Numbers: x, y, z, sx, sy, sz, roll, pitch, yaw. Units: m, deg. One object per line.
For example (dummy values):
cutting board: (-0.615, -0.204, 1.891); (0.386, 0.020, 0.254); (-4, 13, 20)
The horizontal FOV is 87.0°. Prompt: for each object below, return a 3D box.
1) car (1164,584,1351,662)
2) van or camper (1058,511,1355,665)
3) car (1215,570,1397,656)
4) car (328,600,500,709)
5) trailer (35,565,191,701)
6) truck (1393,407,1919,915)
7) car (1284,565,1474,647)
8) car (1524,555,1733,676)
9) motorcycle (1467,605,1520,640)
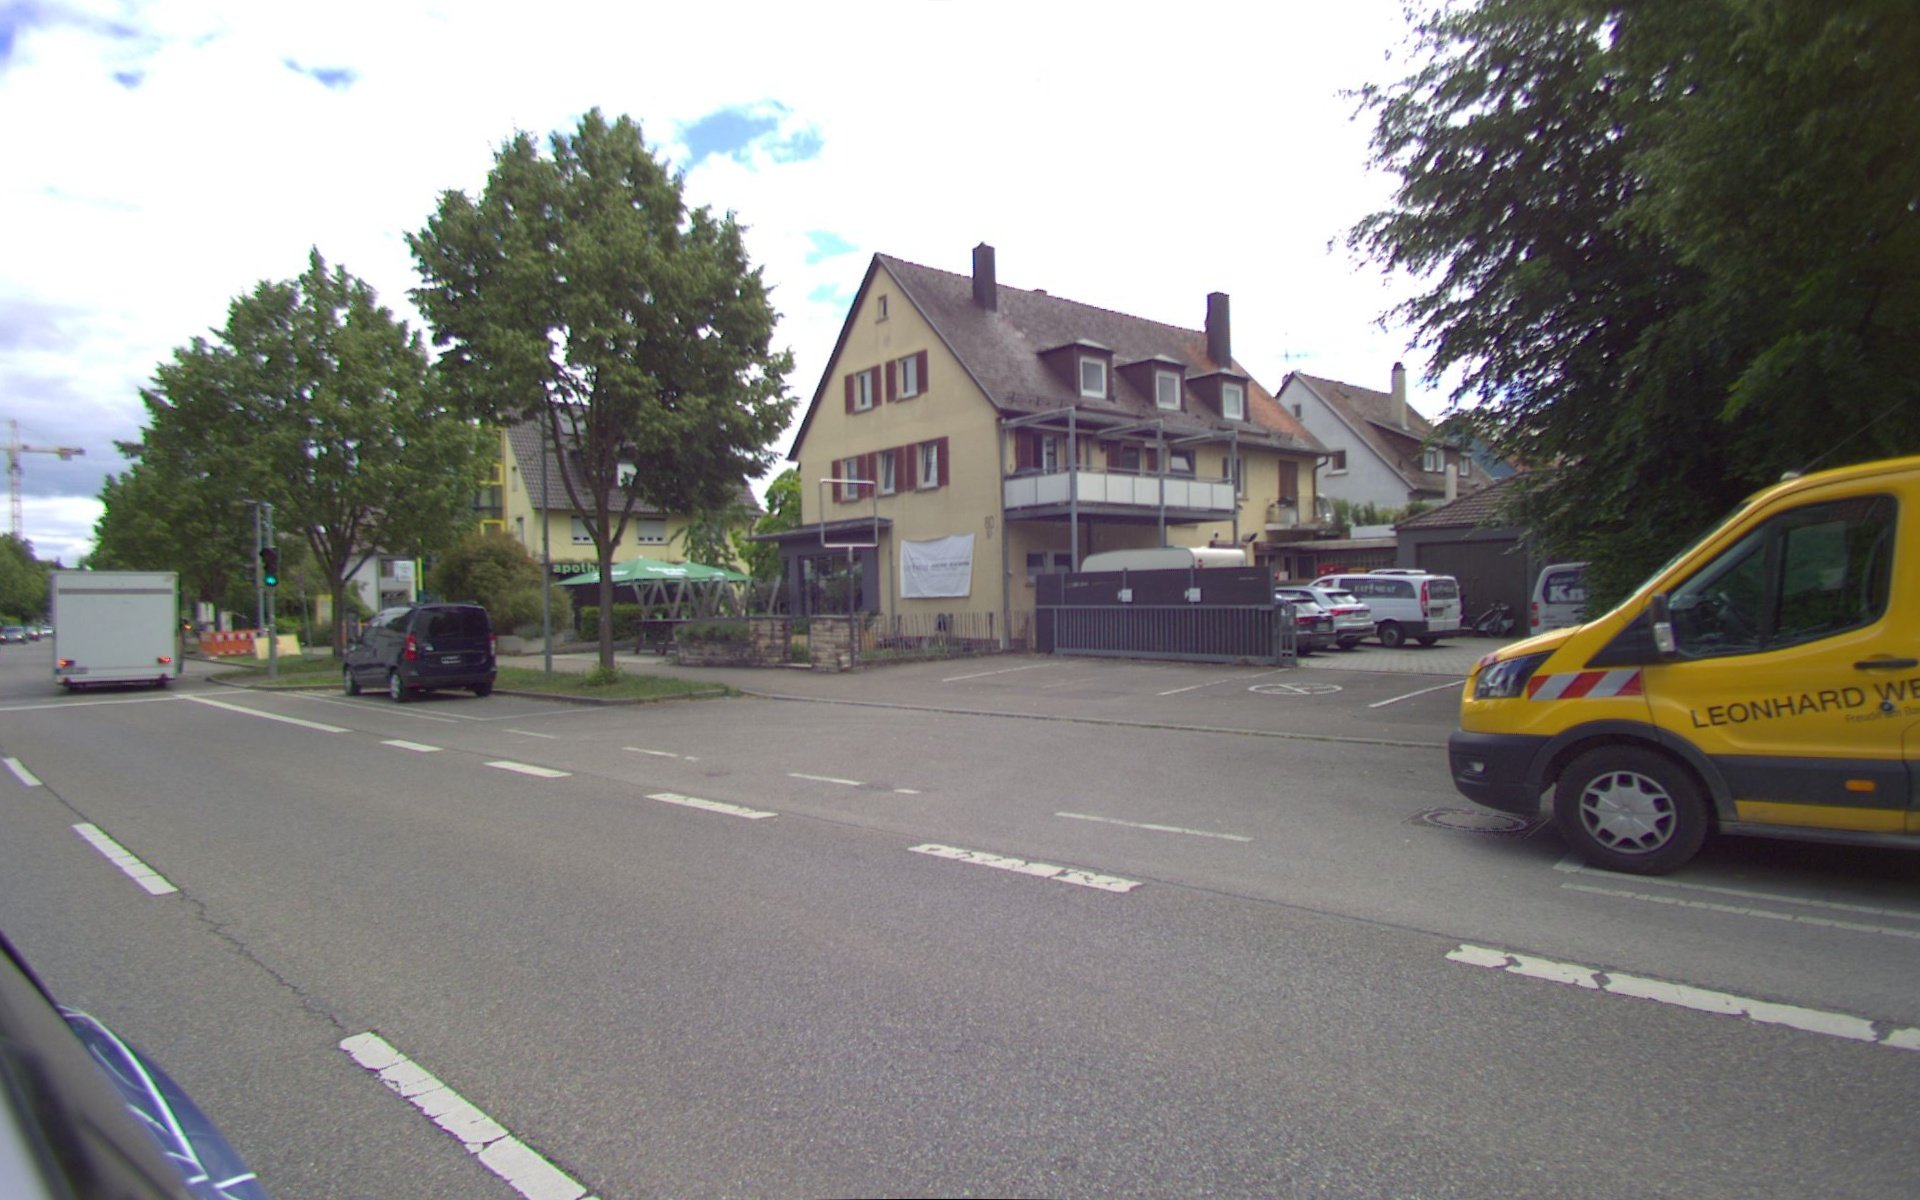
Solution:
car: (6.987, 0.538, 24.126); (1.816, 1.674, 4.010); (-1, -1, -34)
van or camper: (5.188, -0.177, 22.178); (2.563, 2.905, 5.947); (-1, -1, -39)
car: (8.818, 0.324, 26.060); (1.967, 2.029, 4.010); (-1, -1, -35)
car: (-10.800, 1.002, 19.875); (4.399, 1.888, 1.688); (-2, -1, 44)
trailer: (-20.740, 0.771, 25.102); (2.600, 2.900, 6.885); (-1, -1, -37)
truck: (5.793, 0.252, 4.798); (6.463, 2.304, 2.270); (-2, -1, 43)
car: (11.205, 0.186, 27.358); (1.966, 2.029, 4.339); (-1, -1, -34)
car: (11.388, 0.245, 17.144); (3.937, 1.807, 1.924); (0, -1, -41)
motorcycle: (15.013, 0.629, 28.475); (0.626, 0.973, 1.149); (-1, -1, -39)
